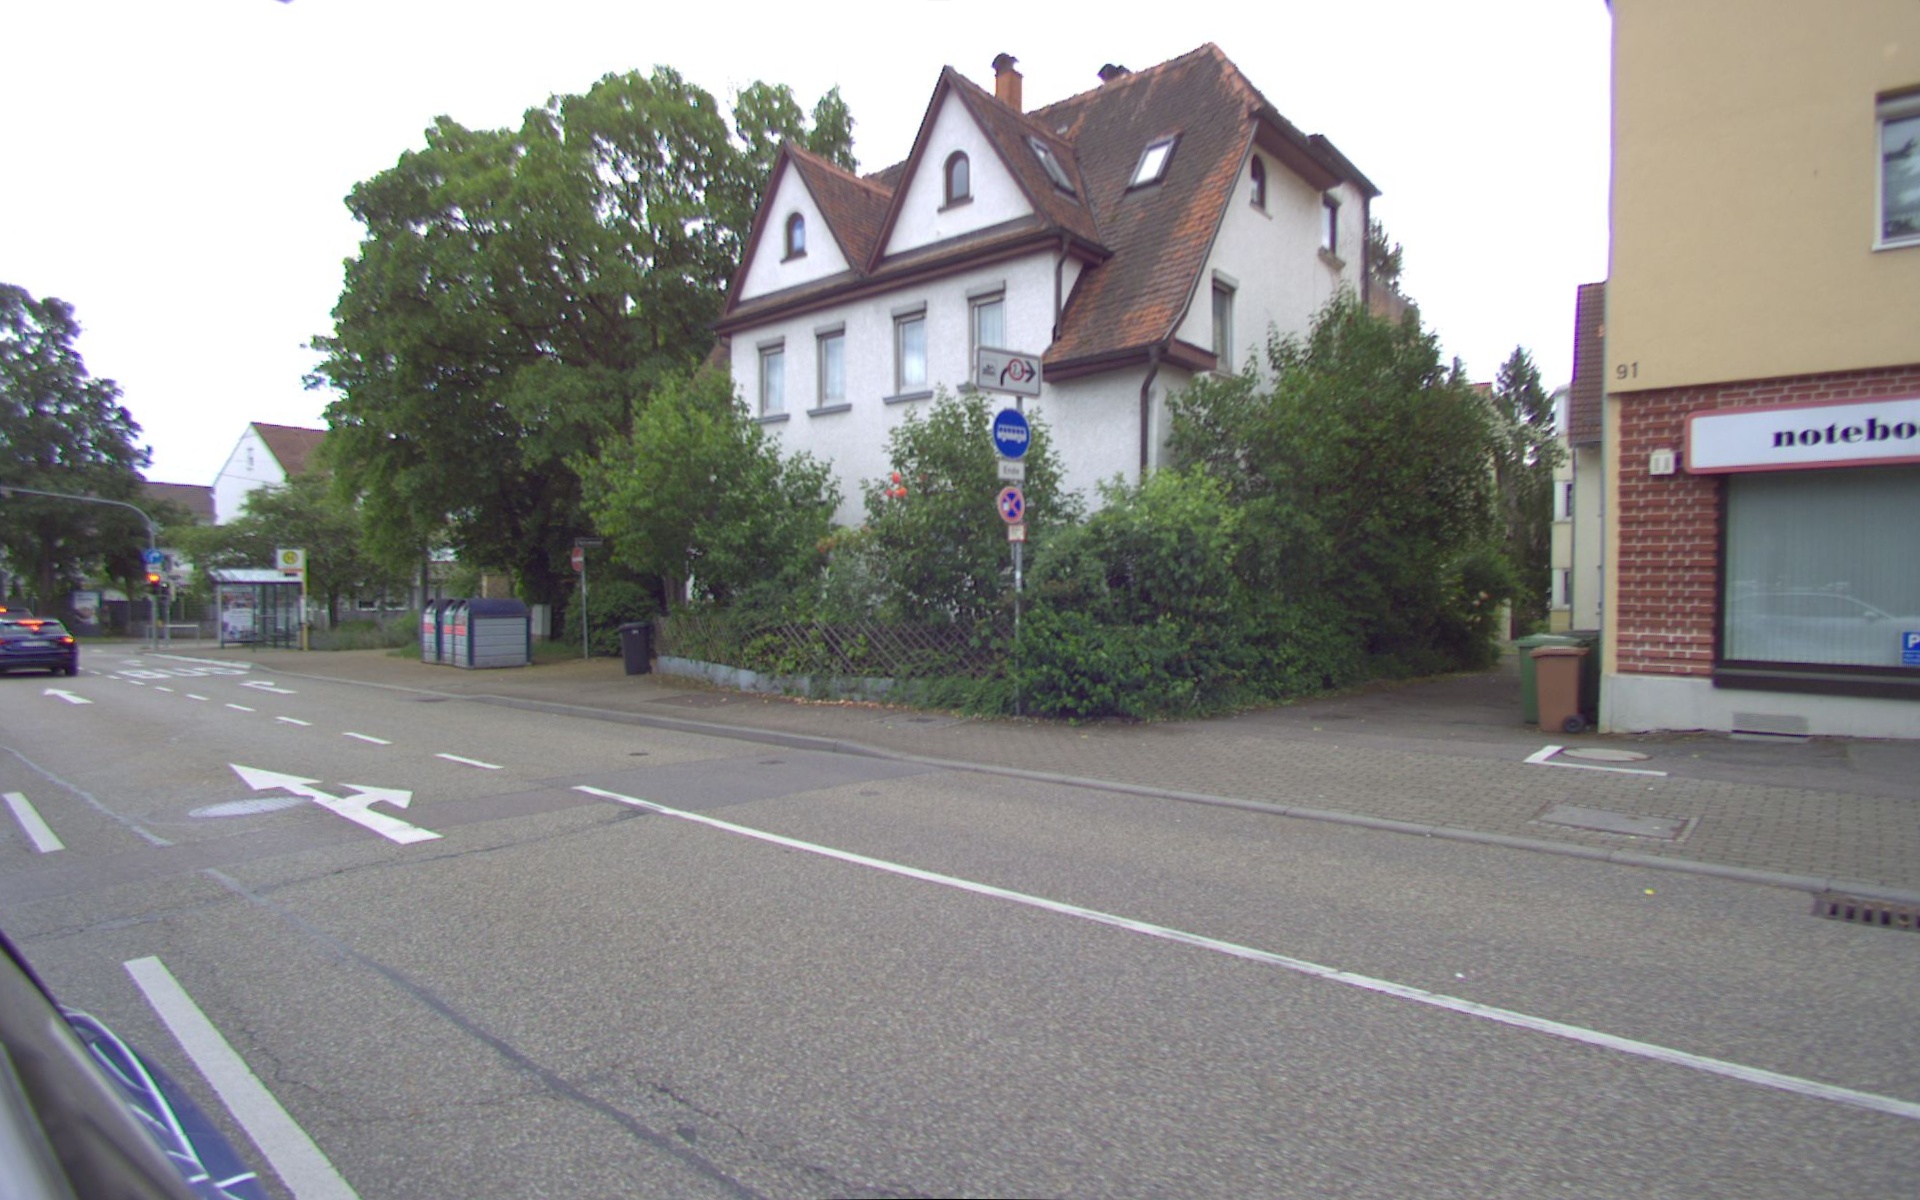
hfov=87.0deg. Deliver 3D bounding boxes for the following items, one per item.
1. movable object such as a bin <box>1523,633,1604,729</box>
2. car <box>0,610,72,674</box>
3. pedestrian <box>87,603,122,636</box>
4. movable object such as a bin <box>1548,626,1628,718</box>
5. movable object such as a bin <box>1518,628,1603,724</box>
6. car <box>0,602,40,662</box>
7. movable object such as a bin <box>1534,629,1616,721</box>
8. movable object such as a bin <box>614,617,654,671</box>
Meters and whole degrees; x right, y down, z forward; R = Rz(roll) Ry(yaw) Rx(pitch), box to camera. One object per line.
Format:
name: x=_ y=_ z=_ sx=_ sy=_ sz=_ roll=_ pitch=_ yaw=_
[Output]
movable object such as a bin: x=6.459 y=0.854 z=10.833 sx=0.607 sy=0.956 sz=0.547 roll=2 pitch=-1 yaw=45
car: x=-23.240 y=0.976 z=24.891 sx=4.128 sy=1.431 sz=1.548 roll=0 pitch=0 yaw=41
pedestrian: x=-46.831 y=1.061 z=55.436 sx=1.209 sy=1.767 sz=0.826 roll=-1 pitch=1 yaw=-15
movable object such as a bin: x=7.608 y=0.861 z=12.265 sx=0.547 sy=1.049 sz=0.690 roll=3 pitch=-1 yaw=-45
movable object such as a bin: x=6.771 y=0.836 z=11.414 sx=0.547 sy=1.010 sz=0.690 roll=3 pitch=-1 yaw=-45
car: x=-28.618 y=0.878 z=29.782 sx=4.593 sy=1.647 sz=1.740 roll=1 pitch=-2 yaw=41
movable object such as a bin: x=7.192 y=0.859 z=11.842 sx=0.547 sy=1.010 sz=0.690 roll=3 pitch=-1 yaw=-45
movable object such as a bin: x=-6.647 y=0.888 z=20.648 sx=0.708 sy=1.027 sz=0.724 roll=-3 pitch=0 yaw=-16
